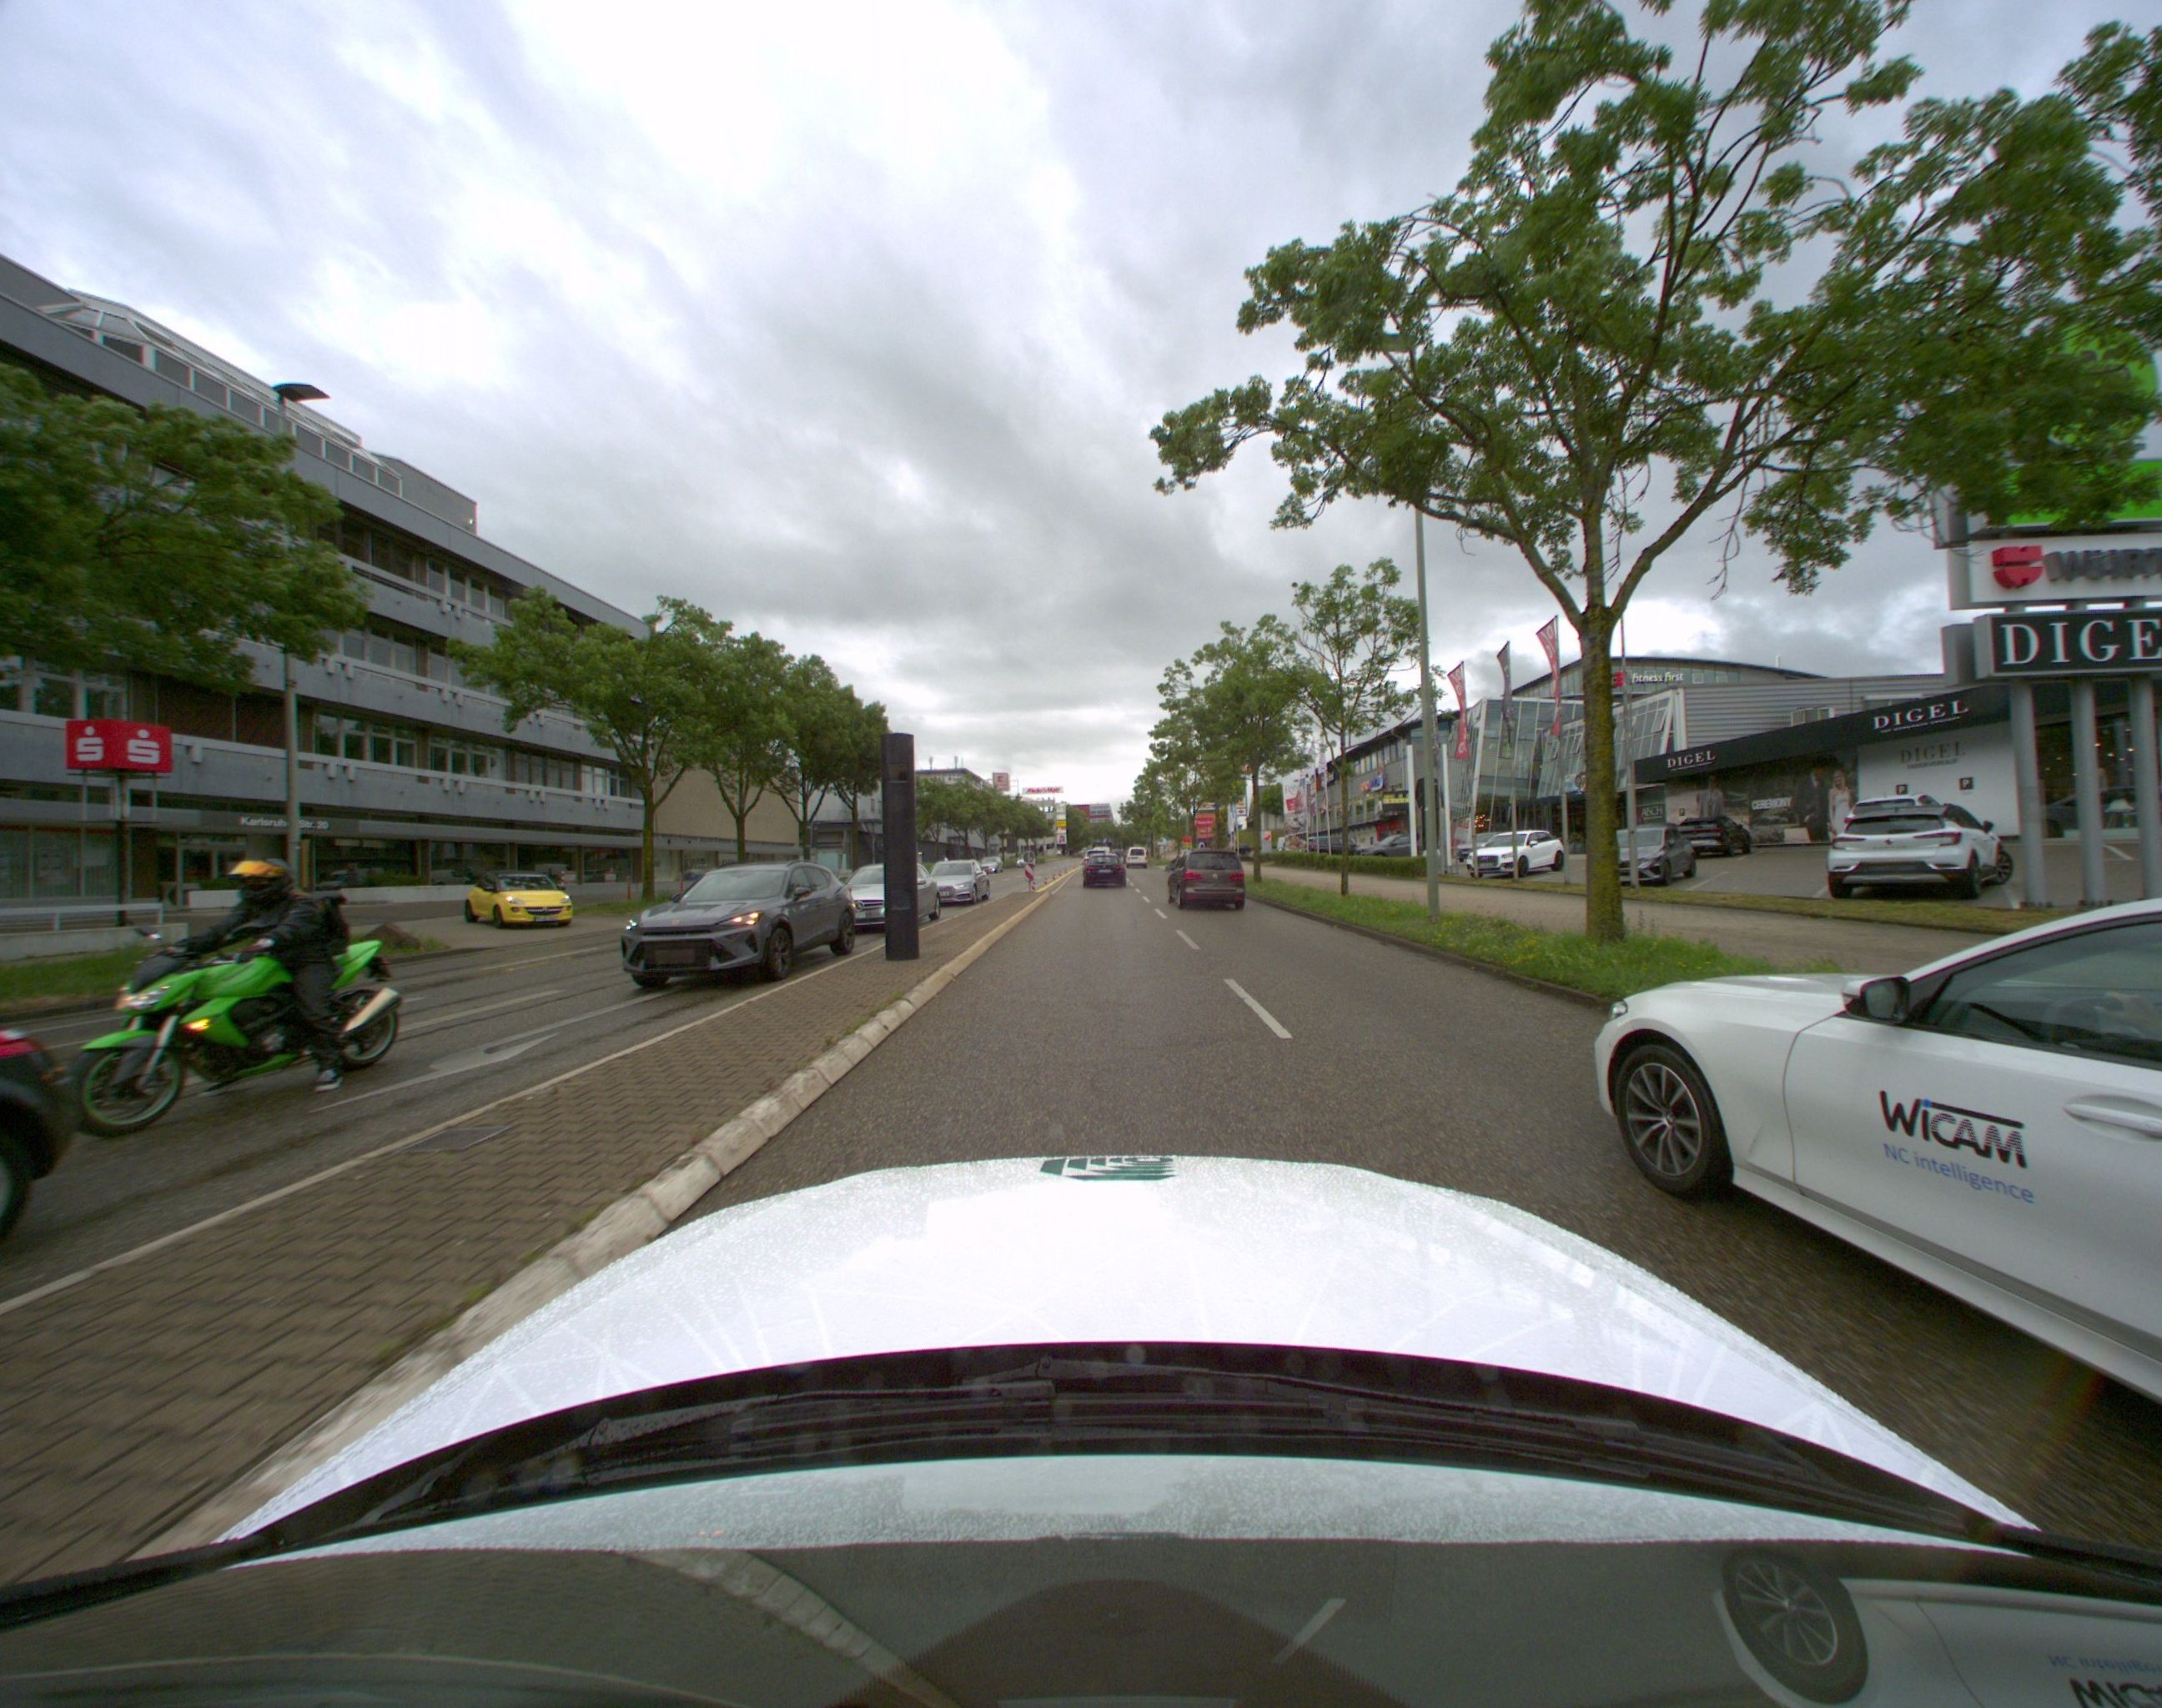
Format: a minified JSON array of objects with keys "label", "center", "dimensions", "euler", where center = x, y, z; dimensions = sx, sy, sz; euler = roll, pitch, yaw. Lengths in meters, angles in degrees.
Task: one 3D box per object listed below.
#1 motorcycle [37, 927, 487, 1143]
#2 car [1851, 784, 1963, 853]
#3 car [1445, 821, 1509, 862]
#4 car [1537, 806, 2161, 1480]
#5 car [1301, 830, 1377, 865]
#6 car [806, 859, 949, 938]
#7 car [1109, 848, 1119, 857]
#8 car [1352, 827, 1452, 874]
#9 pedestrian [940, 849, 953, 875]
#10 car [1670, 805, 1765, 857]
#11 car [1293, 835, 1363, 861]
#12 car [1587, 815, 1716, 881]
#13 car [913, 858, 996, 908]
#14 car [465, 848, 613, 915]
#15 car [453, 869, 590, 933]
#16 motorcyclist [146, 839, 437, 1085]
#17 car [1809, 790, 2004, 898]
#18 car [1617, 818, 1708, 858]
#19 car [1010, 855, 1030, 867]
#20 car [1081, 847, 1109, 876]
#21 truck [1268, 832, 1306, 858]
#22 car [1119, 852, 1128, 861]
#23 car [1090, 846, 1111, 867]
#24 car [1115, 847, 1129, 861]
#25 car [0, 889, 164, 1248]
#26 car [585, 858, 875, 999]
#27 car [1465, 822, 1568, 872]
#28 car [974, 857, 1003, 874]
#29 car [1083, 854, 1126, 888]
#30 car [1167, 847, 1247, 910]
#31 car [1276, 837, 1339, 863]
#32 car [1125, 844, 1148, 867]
[{"label":"motorcycle","center":[-5.579,1.148,5.867],"dimensions":[0.804,0.976,2.323],"euler":[-4,0,1]},{"label":"car","center":[23.889,-1.001,23.504],"dimensions":[4.174,1.771,1.718],"euler":[-2,-1,-37]},{"label":"car","center":[20.125,-0.642,41.295],"dimensions":[1.774,1.941,4.066],"euler":[-2,0,43]},{"label":"car","center":[3.375,0.662,2.180],"dimensions":[1.795,1.544,4.620],"euler":[0,-1,1]},{"label":"car","center":[15.827,-0.391,50.141],"dimensions":[4.093,1.904,1.801],"euler":[-3,0,3]},{"label":"car","center":[-4.400,0.883,18.438],"dimensions":[1.834,1.377,4.863],"euler":[-5,0,1]},{"label":"car","center":[5.580,-0.207,137.512],"dimensions":[1.588,1.474,3.445],"euler":[0,-1,1]},{"label":"car","center":[15.435,-0.178,39.324],"dimensions":[4.093,2.106,1.801],"euler":[-2,0,3]},{"label":"pedestrian","center":[-11.629,0.686,70.428],"dimensions":[0.856,2.218,0.846],"euler":[-2,0,-1]},{"label":"car","center":[23.630,-0.850,30.177],"dimensions":[4.174,1.771,1.718],"euler":[-2,-1,-37]},{"label":"car","center":[16.091,-0.379,53.160],"dimensions":[4.088,1.536,1.804],"euler":[-2,0,8]},{"label":"car","center":[14.494,-0.168,20.649],"dimensions":[3.616,1.536,1.625],"euler":[-2,0,-37]},{"label":"car","center":[-4.065,0.893,26.908],"dimensions":[1.717,1.398,4.791],"euler":[-4,-1,2]},{"label":"car","center":[-17.603,0.872,26.728],"dimensions":[1.985,2.014,4.003],"euler":[0,-1,3]},{"label":"car","center":[-15.599,1.284,22.661],"dimensions":[3.948,1.552,1.912],"euler":[-3,0,36]},{"label":"motorcyclist","center":[-5.587,0.694,5.879],"dimensions":[0.804,1.559,1.267],"euler":[-2,0,0]},{"label":"car","center":[15.133,-0.226,14.876],"dimensions":[4.046,1.662,1.960],"euler":[-4,1,-37]},{"label":"car","center":[24.138,-0.679,33.762],"dimensions":[4.174,1.468,1.811],"euler":[-3,0,-36]},{"label":"car","center":[-7.187,0.816,96.132],"dimensions":[1.936,1.448,4.001],"euler":[-1,0,1]},{"label":"car","center":[0.963,0.514,53.522],"dimensions":[1.775,1.793,4.002],"euler":[-1,0,2]},{"label":"truck","center":[20.102,-0.807,79.668],"dimensions":[2.433,2.348,5.460],"euler":[0,-1,1]},{"label":"car","center":[7.993,0.474,153.540],"dimensions":[1.614,1.495,3.361],"euler":[0,-1,1]},{"label":"car","center":[1.936,0.291,80.757],"dimensions":[1.986,2.014,4.002],"euler":[0,-1,2]},{"label":"car","center":[5.132,0.037,101.771],"dimensions":[1.678,1.684,3.405],"euler":[0,-1,3]},{"label":"car","center":[-5.041,0.871,1.718],"dimensions":[1.677,1.377,3.998],"euler":[-2,0,-1]},{"label":"car","center":[-4.545,0.845,11.516],"dimensions":[1.737,1.489,4.832],"euler":[-2,0,3]},{"label":"car","center":[15.164,-0.260,28.338],"dimensions":[3.616,1.536,1.776],"euler":[-3,0,-37]},{"label":"car","center":[-8.135,0.987,72.064],"dimensions":[1.936,1.453,4.001],"euler":[-1,0,1]},{"label":"car","center":[1.040,0.722,35.976],"dimensions":[1.775,1.398,4.002],"euler":[-1,0,2]},{"label":"car","center":[3.416,0.626,22.794],"dimensions":[1.794,1.587,4.454],"euler":[0,0,3]},{"label":"car","center":[15.915,-0.294,57.351],"dimensions":[4.088,1.703,1.803],"euler":[-2,0,8]},{"label":"car","center":[4.786,0.143,70.920],"dimensions":[1.775,1.866,4.002],"euler":[-3,-1,2]}]
